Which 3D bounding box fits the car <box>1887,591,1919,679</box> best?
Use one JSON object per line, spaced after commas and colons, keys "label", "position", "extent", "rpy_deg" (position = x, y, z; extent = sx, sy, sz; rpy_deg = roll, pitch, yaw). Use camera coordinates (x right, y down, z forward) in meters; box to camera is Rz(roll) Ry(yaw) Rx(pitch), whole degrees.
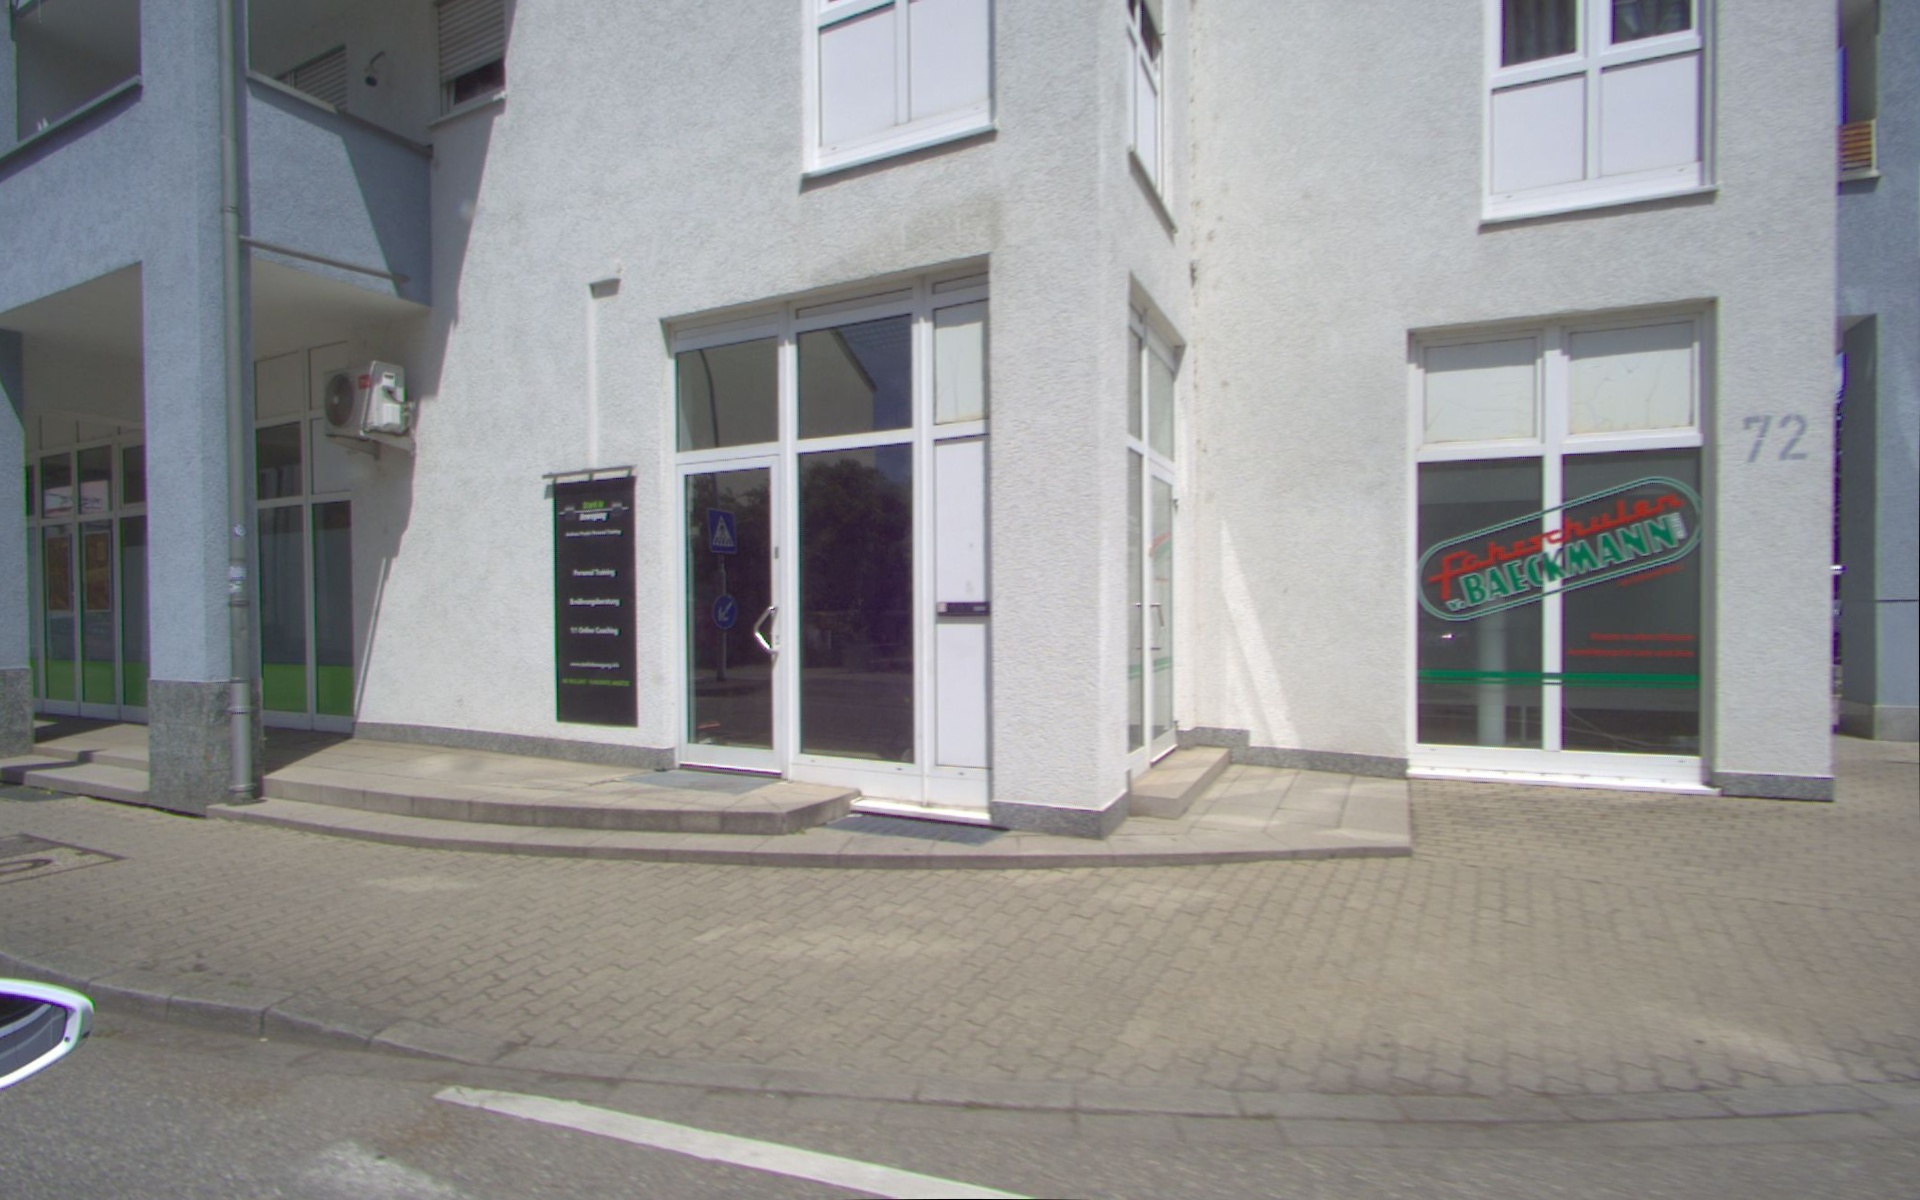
{"label": "car", "position": [16.682, 0.576, 16.130], "extent": [1.511, 1.486, 3.773], "rpy_deg": [0, 0, 26]}

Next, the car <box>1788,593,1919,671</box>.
{"label": "car", "position": [18.937, 0.626, 20.927], "extent": [1.627, 1.486, 3.773], "rpy_deg": [0, 0, 26]}
